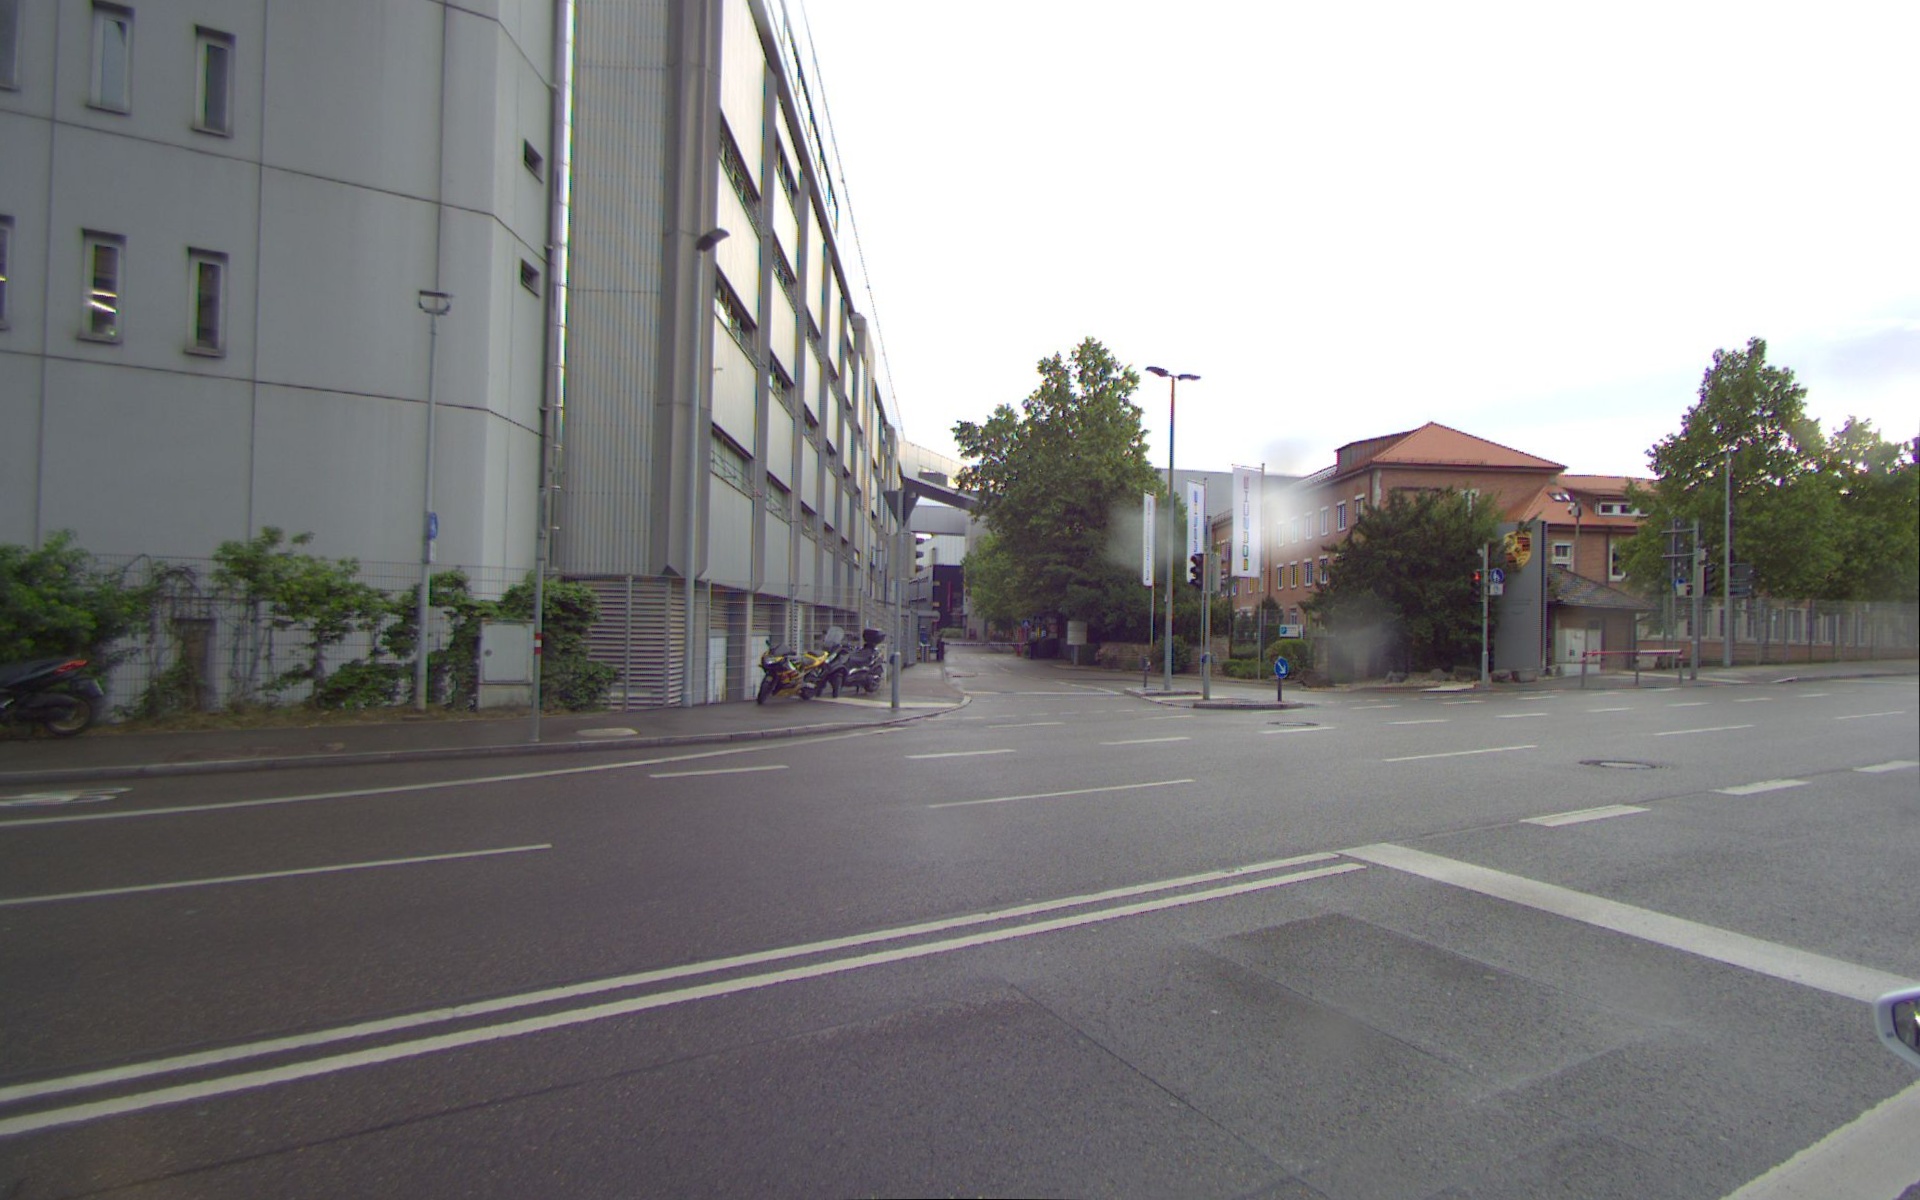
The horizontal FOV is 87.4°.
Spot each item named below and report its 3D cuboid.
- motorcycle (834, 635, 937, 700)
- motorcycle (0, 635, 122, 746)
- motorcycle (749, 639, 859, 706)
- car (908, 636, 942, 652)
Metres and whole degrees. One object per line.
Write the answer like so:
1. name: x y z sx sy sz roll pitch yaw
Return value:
1. motorcycle: -1.617 1.465 22.533 1.008 1.355 2.772 -1 -2 27
2. motorcycle: -11.380 1.052 11.866 2.133 1.263 0.780 2 -2 -32
3. motorcycle: -3.070 1.406 20.097 0.759 1.234 2.504 0 -2 30
4. car: -4.551 5.783 131.409 3.913 1.849 1.955 2 0 -31
